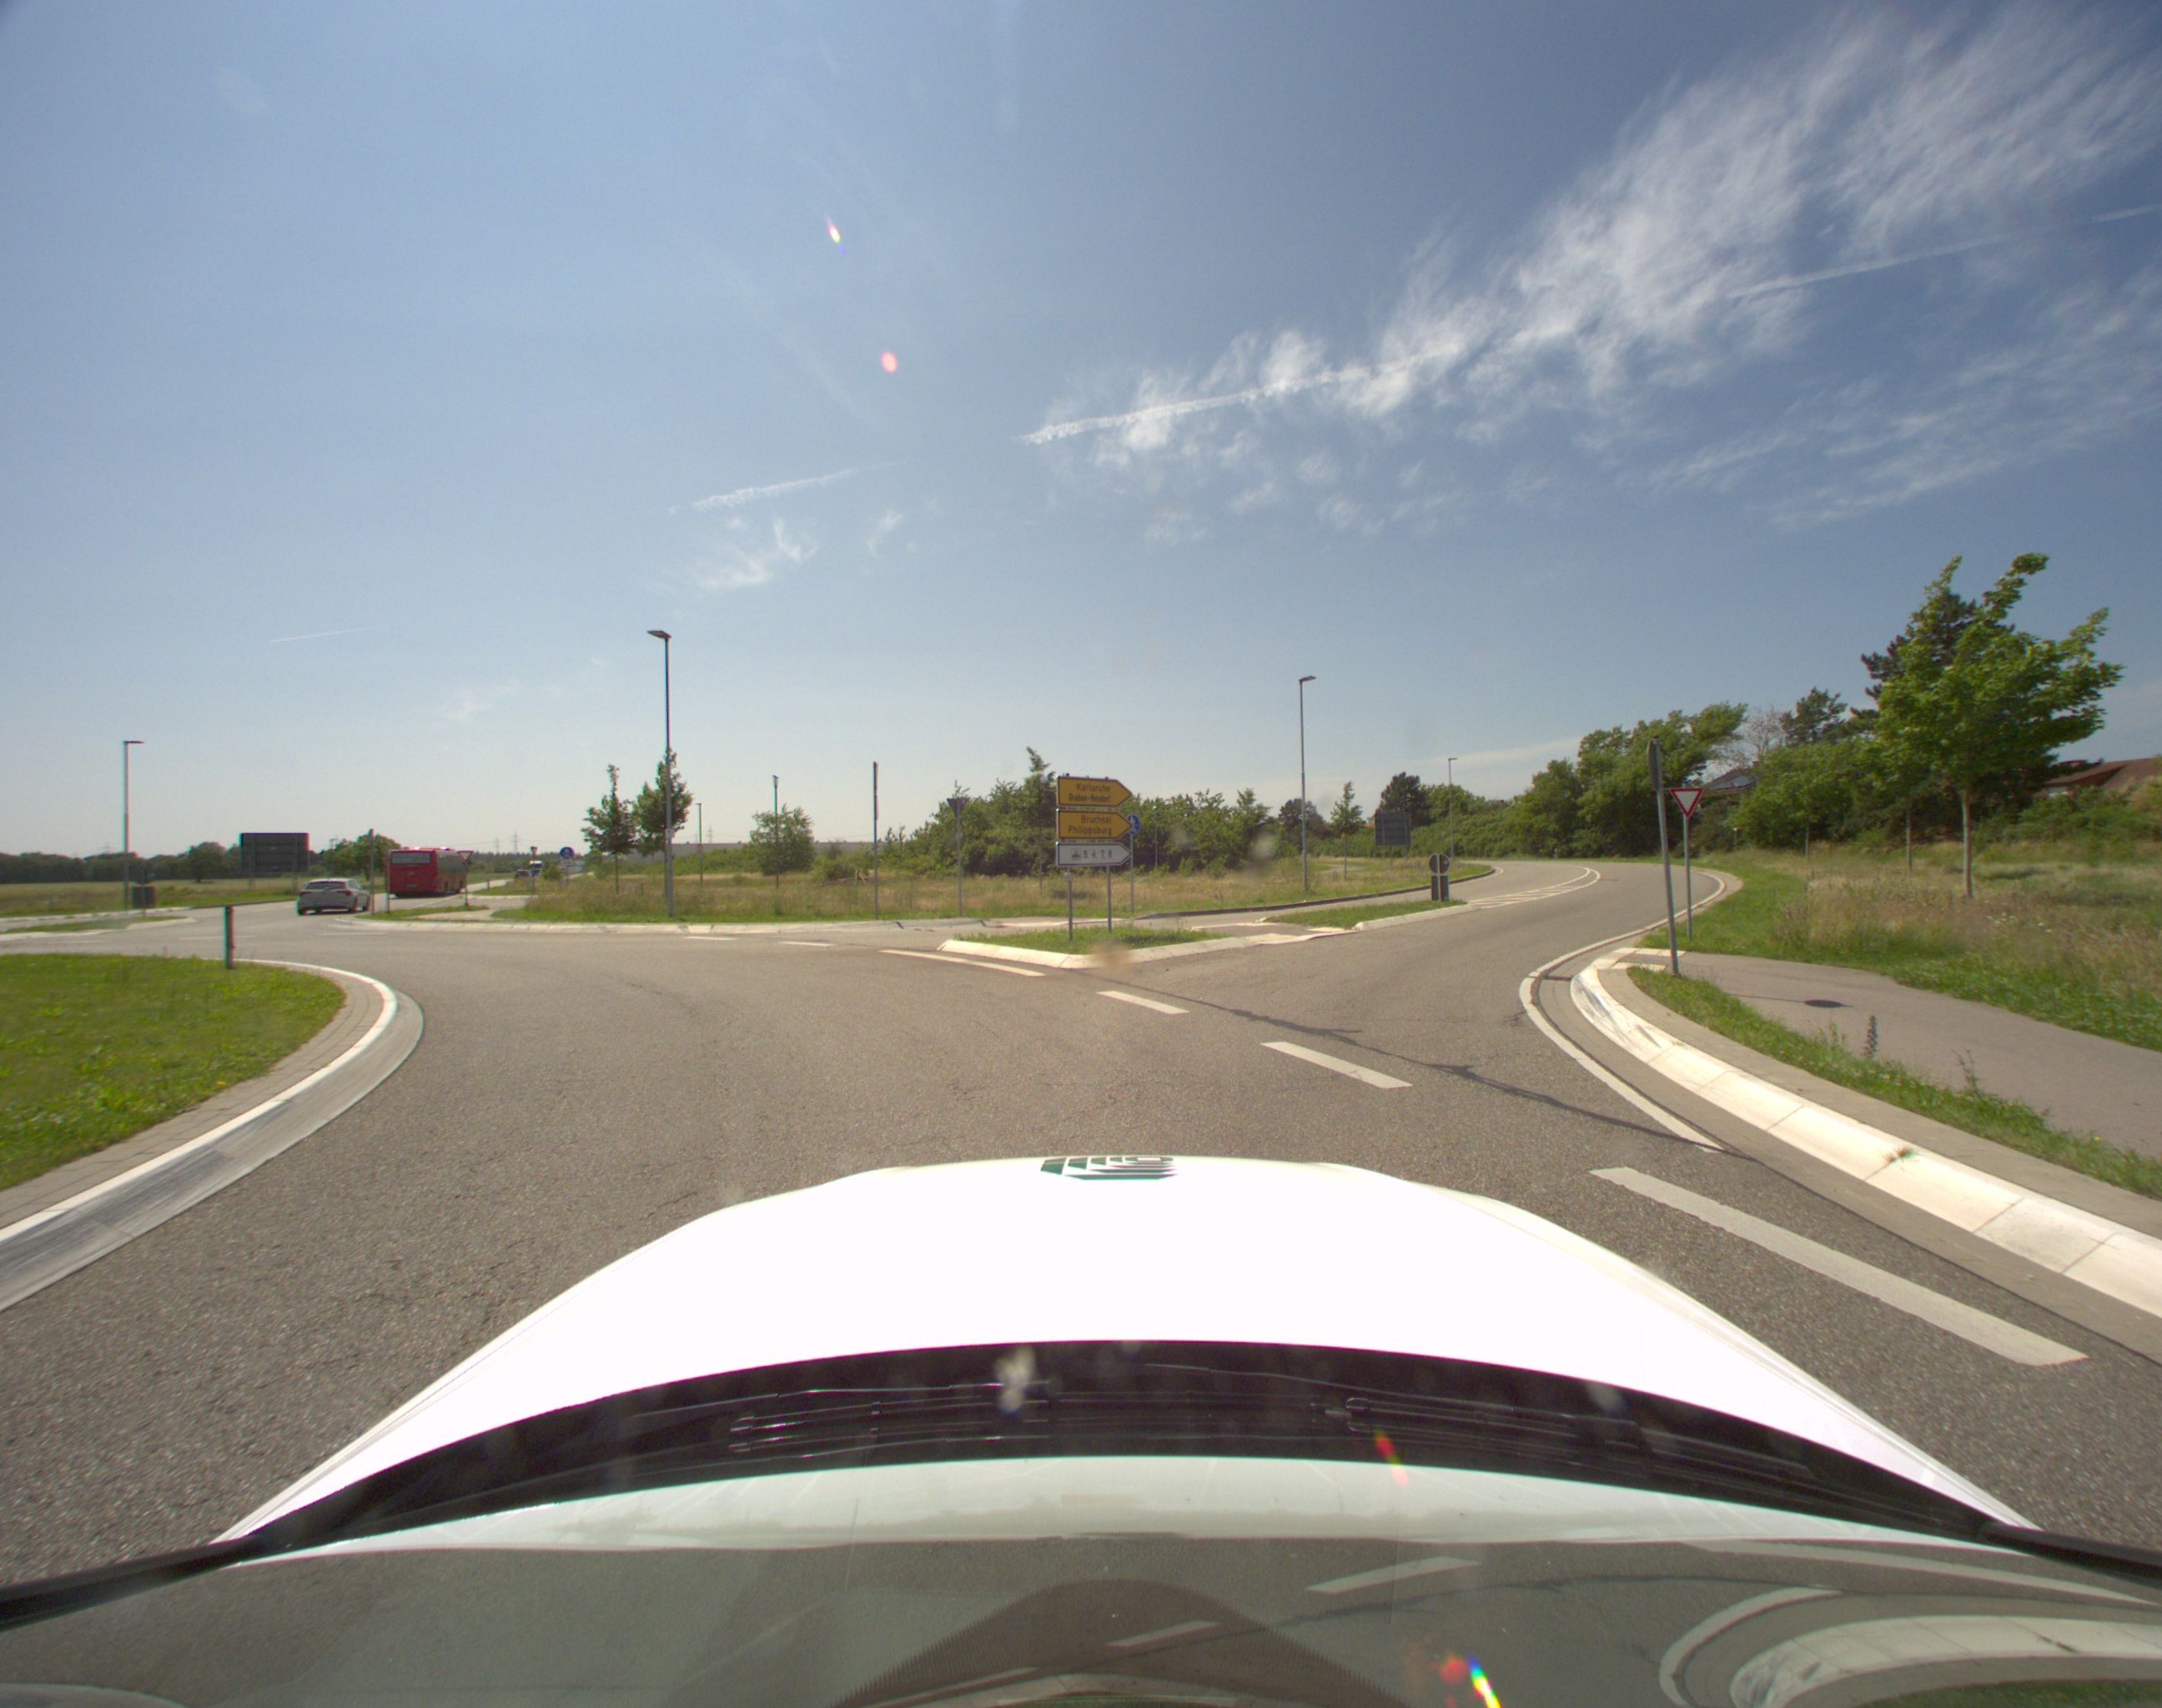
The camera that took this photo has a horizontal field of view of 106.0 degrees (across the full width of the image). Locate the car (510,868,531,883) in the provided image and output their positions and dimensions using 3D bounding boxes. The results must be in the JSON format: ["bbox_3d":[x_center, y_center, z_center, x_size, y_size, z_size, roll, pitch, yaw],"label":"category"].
[{"bbox_3d":[-75.409,2.875,109.589,2.006,1.926,3.962,-1,-1,-29],"label":"car"}]

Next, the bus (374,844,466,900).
[{"bbox_3d":[-43.969,1.159,54.566,3.325,3.309,11.868,-1,-1,-32],"label":"bus"}]

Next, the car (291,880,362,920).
[{"bbox_3d":[-31.555,1.880,34.131,1.737,1.464,3.562,-1,-1,-36],"label":"car"}]
